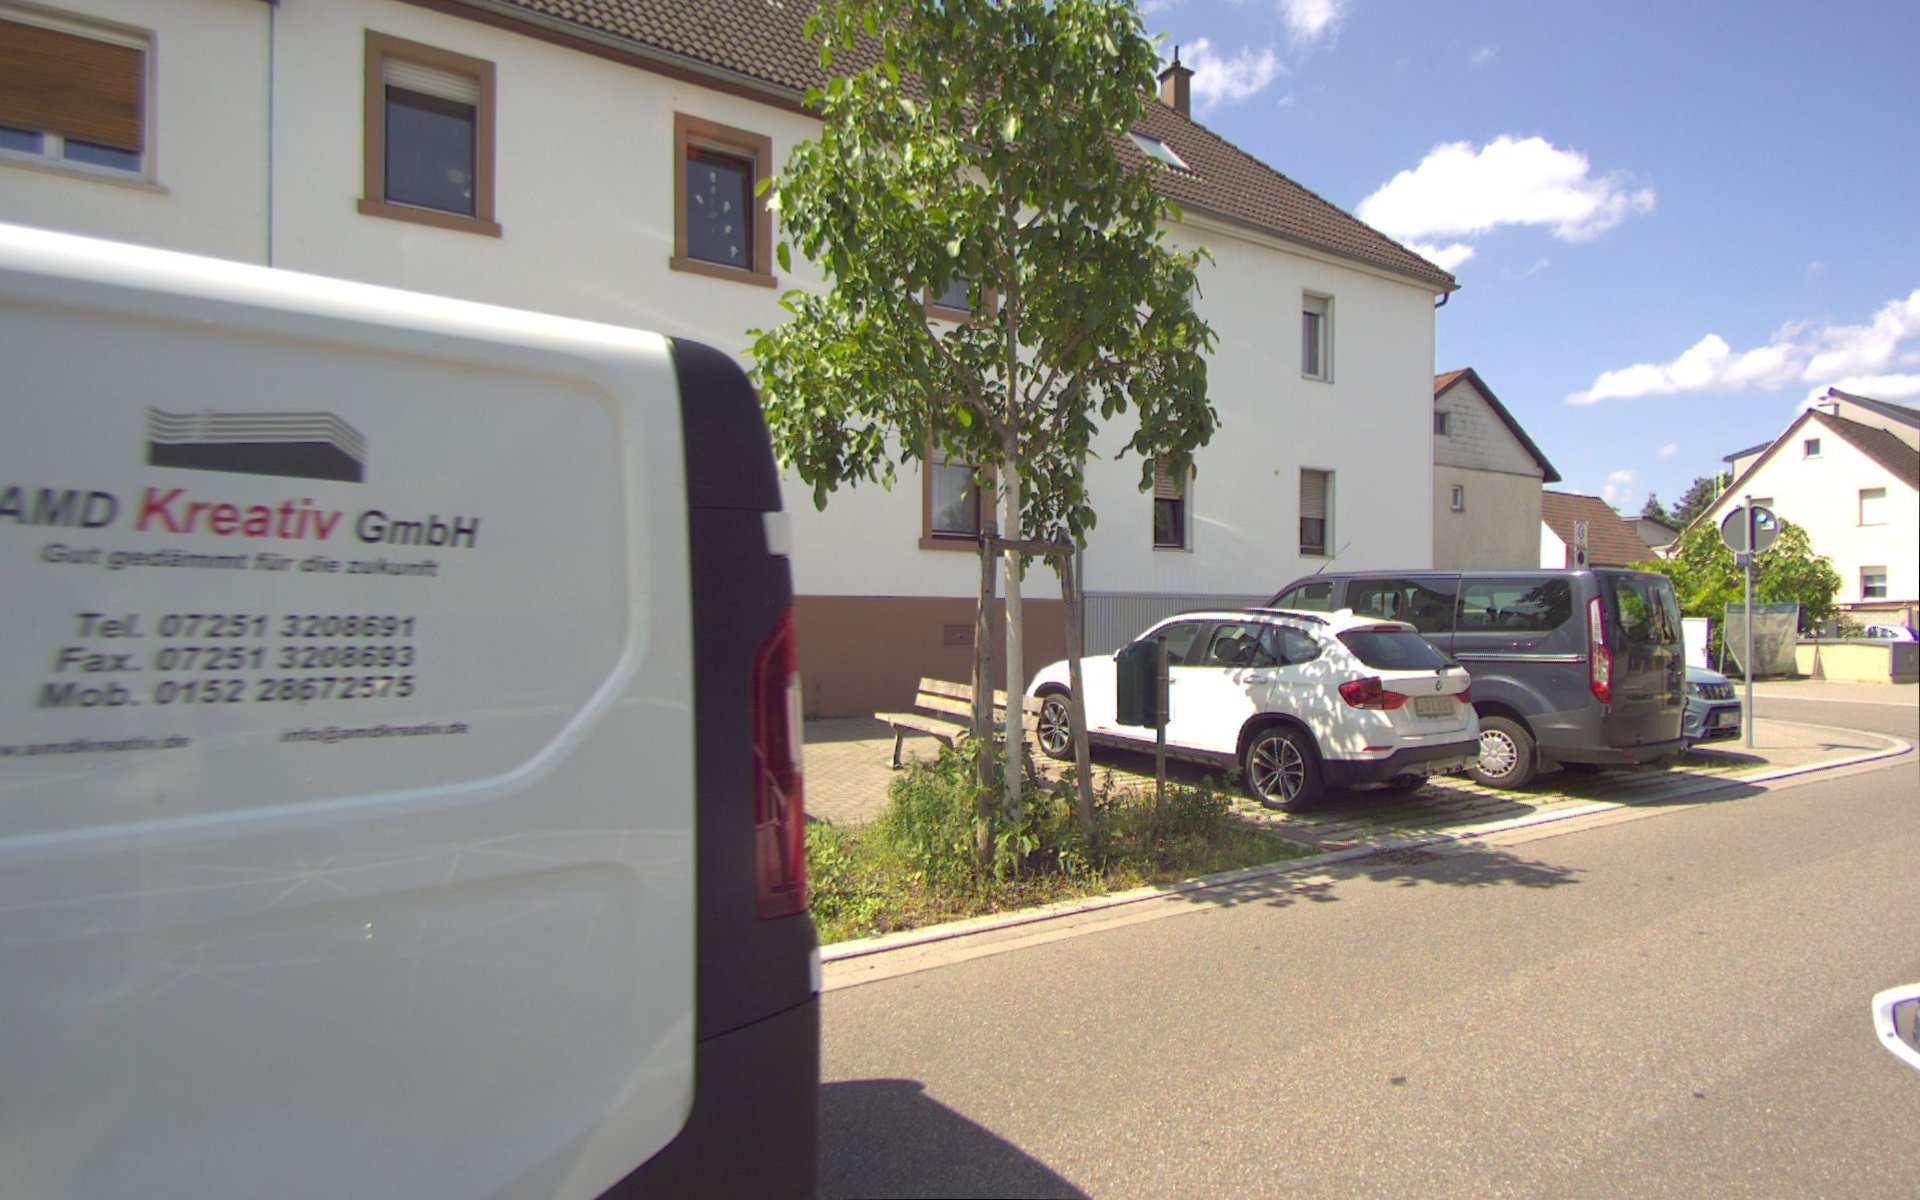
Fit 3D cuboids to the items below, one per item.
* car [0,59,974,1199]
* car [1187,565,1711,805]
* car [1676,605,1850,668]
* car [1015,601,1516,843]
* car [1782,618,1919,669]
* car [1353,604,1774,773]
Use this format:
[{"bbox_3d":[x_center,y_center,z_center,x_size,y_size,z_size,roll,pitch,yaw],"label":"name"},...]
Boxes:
[{"bbox_3d":[-2.551,0.477,0.955,4.847,1.975,2.011,2,-2,-34],"label":"car"},{"bbox_3d":[4.807,0.674,10.659,1.916,1.949,4.674,2,0,-32],"label":"car"},{"bbox_3d":[26.033,1.139,32.676,1.977,1.824,3.967,1,1,-30],"label":"car"},{"bbox_3d":[2.494,0.870,9.174,1.756,1.589,4.155,2,0,-35],"label":"car"},{"bbox_3d":[30.250,1.426,33.849,1.769,1.490,3.511,1,1,-27],"label":"car"},{"bbox_3d":[7.266,0.941,12.554,1.753,1.641,4.152,2,0,-32],"label":"car"}]
